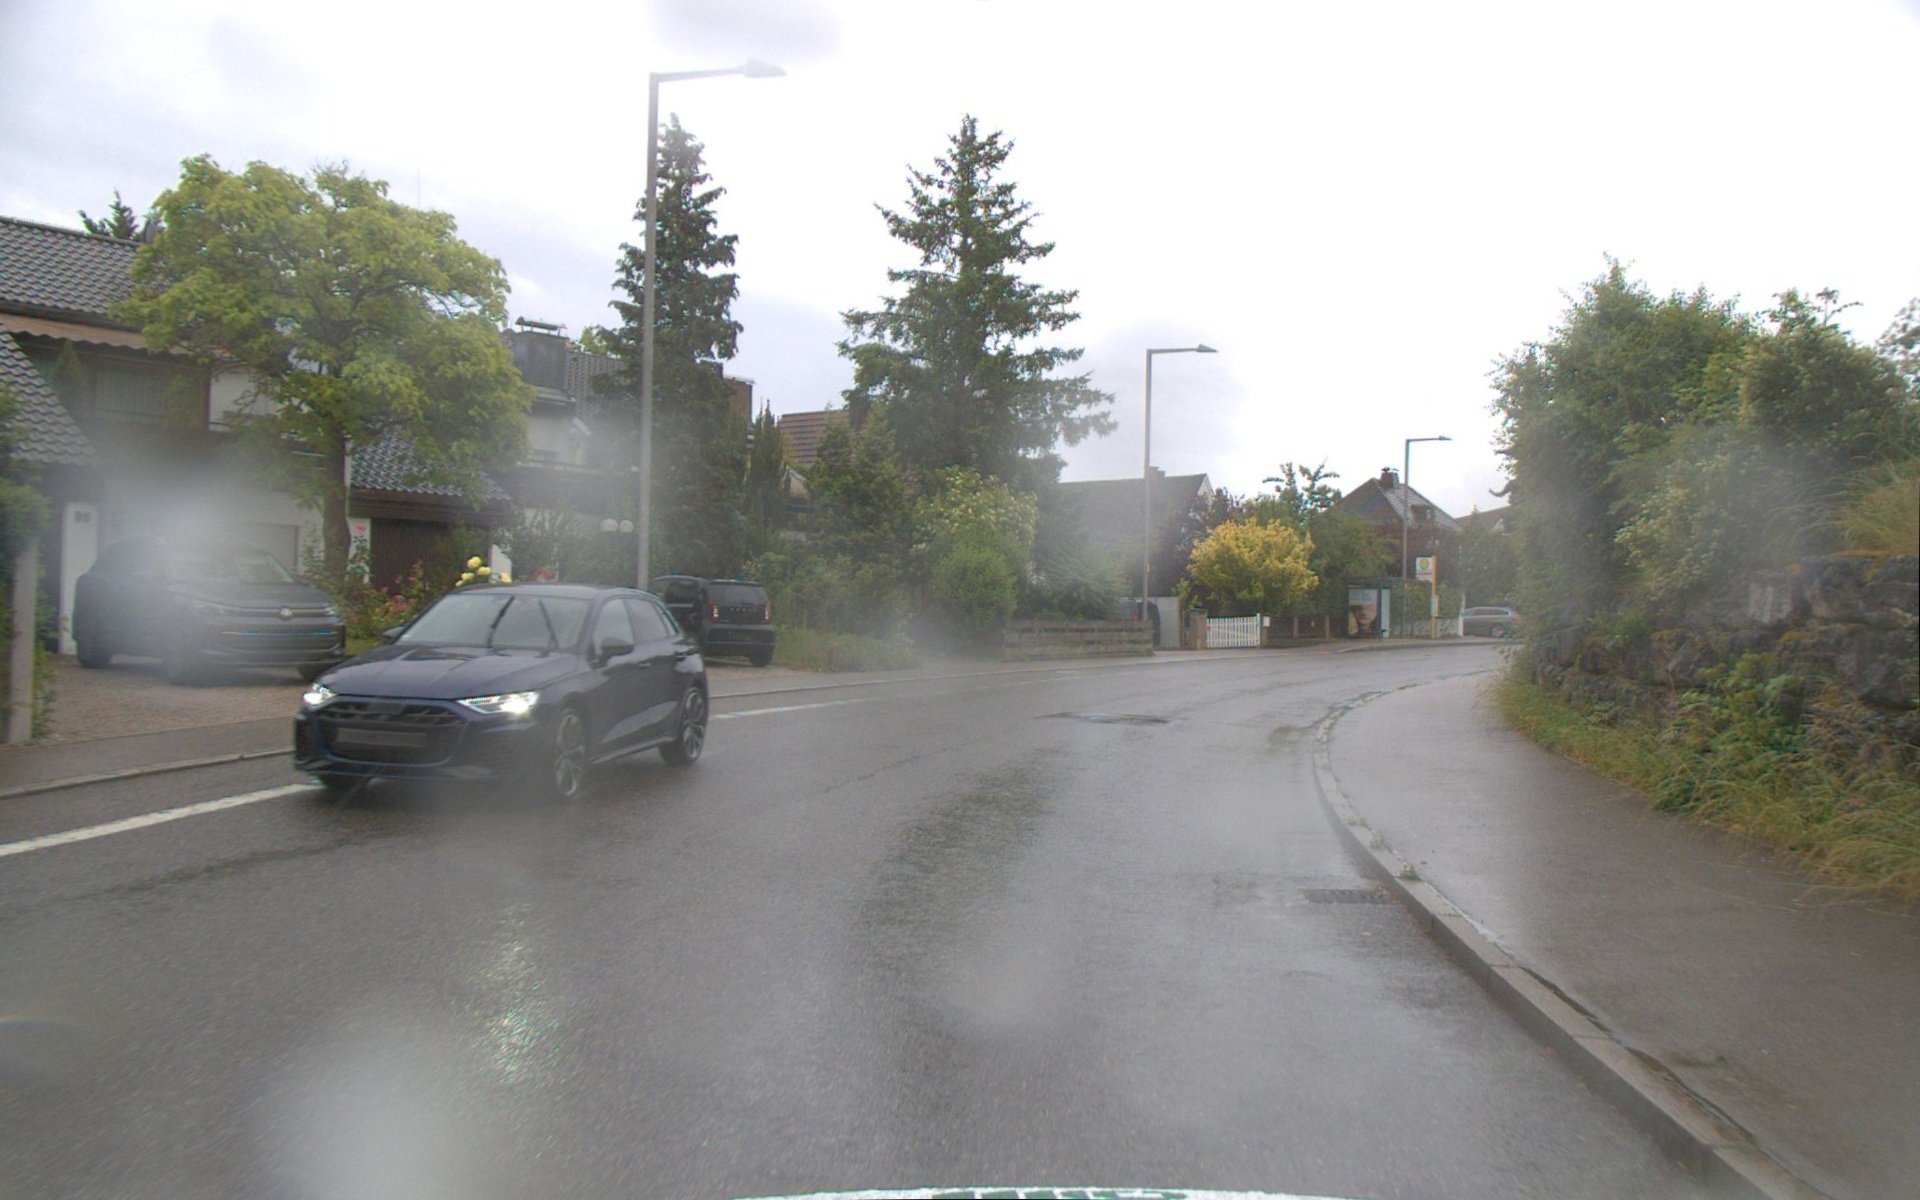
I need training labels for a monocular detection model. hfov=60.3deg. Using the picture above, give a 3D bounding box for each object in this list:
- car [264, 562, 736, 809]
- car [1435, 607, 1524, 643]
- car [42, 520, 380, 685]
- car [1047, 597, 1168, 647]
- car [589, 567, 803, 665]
[{"bbox_3d":[-3.147,0.517,12.290,1.739,1.445,4.169,2,0,9],"label":"car"},{"bbox_3d":[25.165,1.188,80.107,3.777,1.599,1.780,1,0,34],"label":"car"},{"bbox_3d":[-9.003,0.007,19.794,3.923,1.660,2.005,4,0,37],"label":"car"},{"bbox_3d":[5.336,0.800,59.994,3.925,1.648,1.990,2,0,39],"label":"car"},{"bbox_3d":[-4.662,0.250,28.889,1.922,1.413,3.944,5,0,-39],"label":"car"}]
